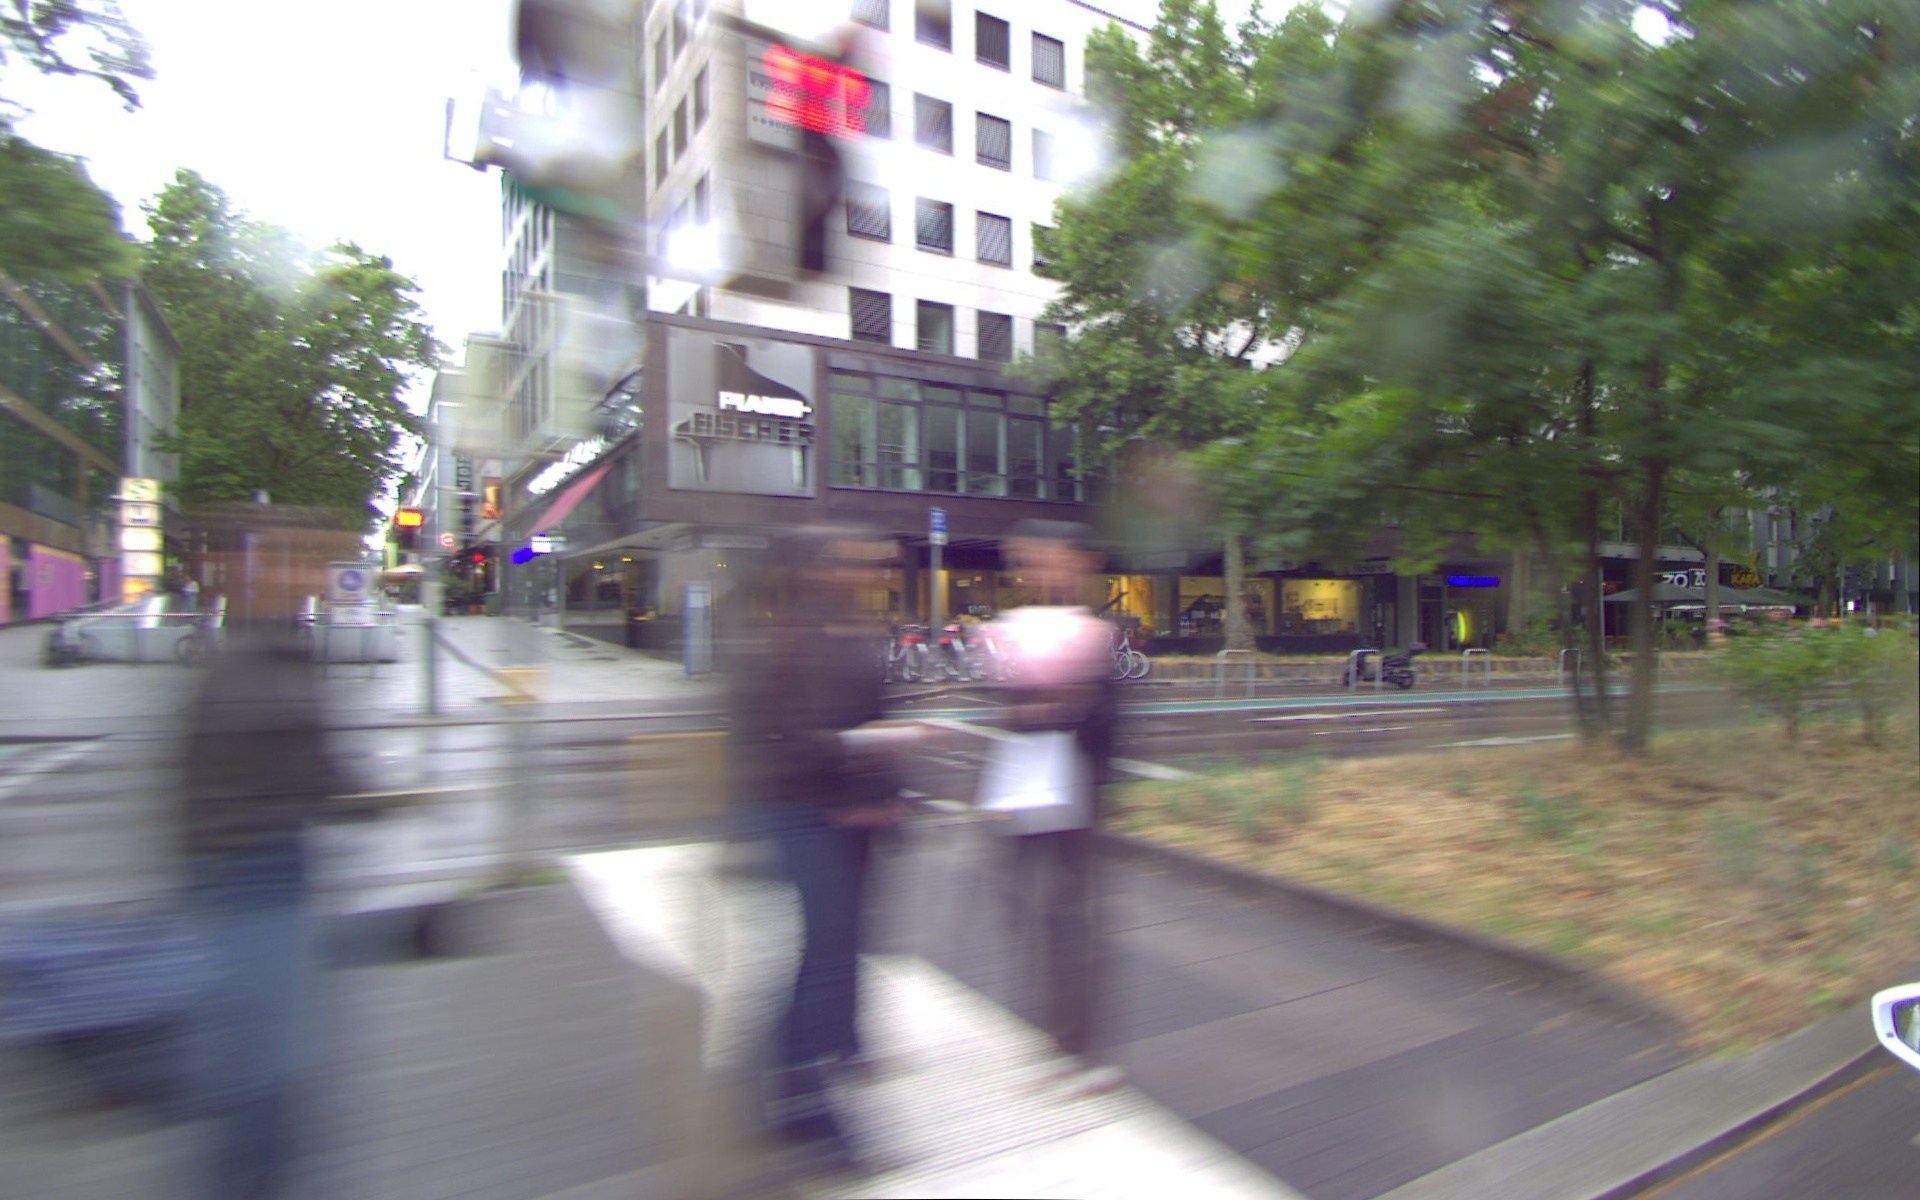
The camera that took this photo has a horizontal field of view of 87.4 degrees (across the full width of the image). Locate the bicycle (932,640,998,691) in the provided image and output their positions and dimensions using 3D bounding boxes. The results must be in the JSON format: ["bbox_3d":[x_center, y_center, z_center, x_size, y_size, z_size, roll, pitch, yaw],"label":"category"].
[{"bbox_3d":[0.087,1.324,20.549,0.505,0.975,1.606,1,-1,-36],"label":"bicycle"}]

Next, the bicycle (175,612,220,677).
[{"bbox_3d":[-15.759,0.882,20.785,0.683,1.263,2.369,1,-1,-36],"label":"bicycle"}]

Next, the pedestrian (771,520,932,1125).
[{"bbox_3d":[-0.345,0.644,3.160,0.322,1.743,0.395,1,-1,-40],"label":"pedestrian"}]

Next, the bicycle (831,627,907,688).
[{"bbox_3d":[-1.790,1.086,19.496,0.609,1.112,1.831,1,-1,-37],"label":"bicycle"}]

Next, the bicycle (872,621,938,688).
[{"bbox_3d":[-1.103,1.042,19.793,0.505,1.257,1.606,1,-1,-36],"label":"bicycle"}]

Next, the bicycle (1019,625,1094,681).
[{"bbox_3d":[2.083,1.121,21.888,0.560,1.152,1.831,1,-1,-36],"label":"bicycle"}]

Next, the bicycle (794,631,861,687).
[{"bbox_3d":[-2.539,1.096,19.048,0.559,0.992,1.834,1,-1,-32],"label":"bicycle"}]

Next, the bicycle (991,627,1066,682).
[{"bbox_3d":[1.452,1.147,21.511,0.560,1.112,1.808,1,-1,-36],"label":"bicycle"}]

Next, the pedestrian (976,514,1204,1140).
[{"bbox_3d":[0.396,0.629,3.116,0.401,1.721,0.568,1,-1,-41],"label":"pedestrian"}]

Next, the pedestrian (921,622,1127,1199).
[{"bbox_3d":[0.181,0.799,2.822,0.418,1.469,0.383,0,-1,42],"label":"pedestrian"}]

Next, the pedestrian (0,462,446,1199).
[{"bbox_3d":[-1.493,0.619,2.019,0.603,1.664,0.603,0,-1,38],"label":"pedestrian"}]

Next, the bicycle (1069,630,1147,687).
[{"bbox_3d":[3.161,1.234,21.643,0.560,1.151,1.832,1,-1,-35],"label":"bicycle"}]

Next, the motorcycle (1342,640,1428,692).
[{"bbox_3d":[9.800,1.513,23.184,1.748,1.099,0.495,1,0,31],"label":"motorcycle"}]

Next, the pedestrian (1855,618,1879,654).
[{"bbox_3d":[51.228,2.031,56.746,0.628,2.040,0.876,1,-1,-30],"label":"pedestrian"}]

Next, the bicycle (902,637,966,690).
[{"bbox_3d":[-0.535,1.266,20.308,0.561,0.992,1.452,1,-1,-37],"label":"bicycle"}]

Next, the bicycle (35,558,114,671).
[{"bbox_3d":[-17.013,0.268,19.354,0.682,2.040,2.374,1,0,-31],"label":"bicycle"}]

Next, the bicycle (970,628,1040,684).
[{"bbox_3d":[0.921,1.151,21.128,0.560,1.106,1.658,1,-1,-36],"label":"bicycle"}]

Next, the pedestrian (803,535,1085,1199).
[{"bbox_3d":[-0.052,0.687,2.711,0.442,1.664,0.622,1,-1,-43],"label":"pedestrian"}]

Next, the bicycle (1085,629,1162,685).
[{"bbox_3d":[3.577,1.236,22.173,0.560,1.165,1.832,1,-1,-35],"label":"bicycle"}]
